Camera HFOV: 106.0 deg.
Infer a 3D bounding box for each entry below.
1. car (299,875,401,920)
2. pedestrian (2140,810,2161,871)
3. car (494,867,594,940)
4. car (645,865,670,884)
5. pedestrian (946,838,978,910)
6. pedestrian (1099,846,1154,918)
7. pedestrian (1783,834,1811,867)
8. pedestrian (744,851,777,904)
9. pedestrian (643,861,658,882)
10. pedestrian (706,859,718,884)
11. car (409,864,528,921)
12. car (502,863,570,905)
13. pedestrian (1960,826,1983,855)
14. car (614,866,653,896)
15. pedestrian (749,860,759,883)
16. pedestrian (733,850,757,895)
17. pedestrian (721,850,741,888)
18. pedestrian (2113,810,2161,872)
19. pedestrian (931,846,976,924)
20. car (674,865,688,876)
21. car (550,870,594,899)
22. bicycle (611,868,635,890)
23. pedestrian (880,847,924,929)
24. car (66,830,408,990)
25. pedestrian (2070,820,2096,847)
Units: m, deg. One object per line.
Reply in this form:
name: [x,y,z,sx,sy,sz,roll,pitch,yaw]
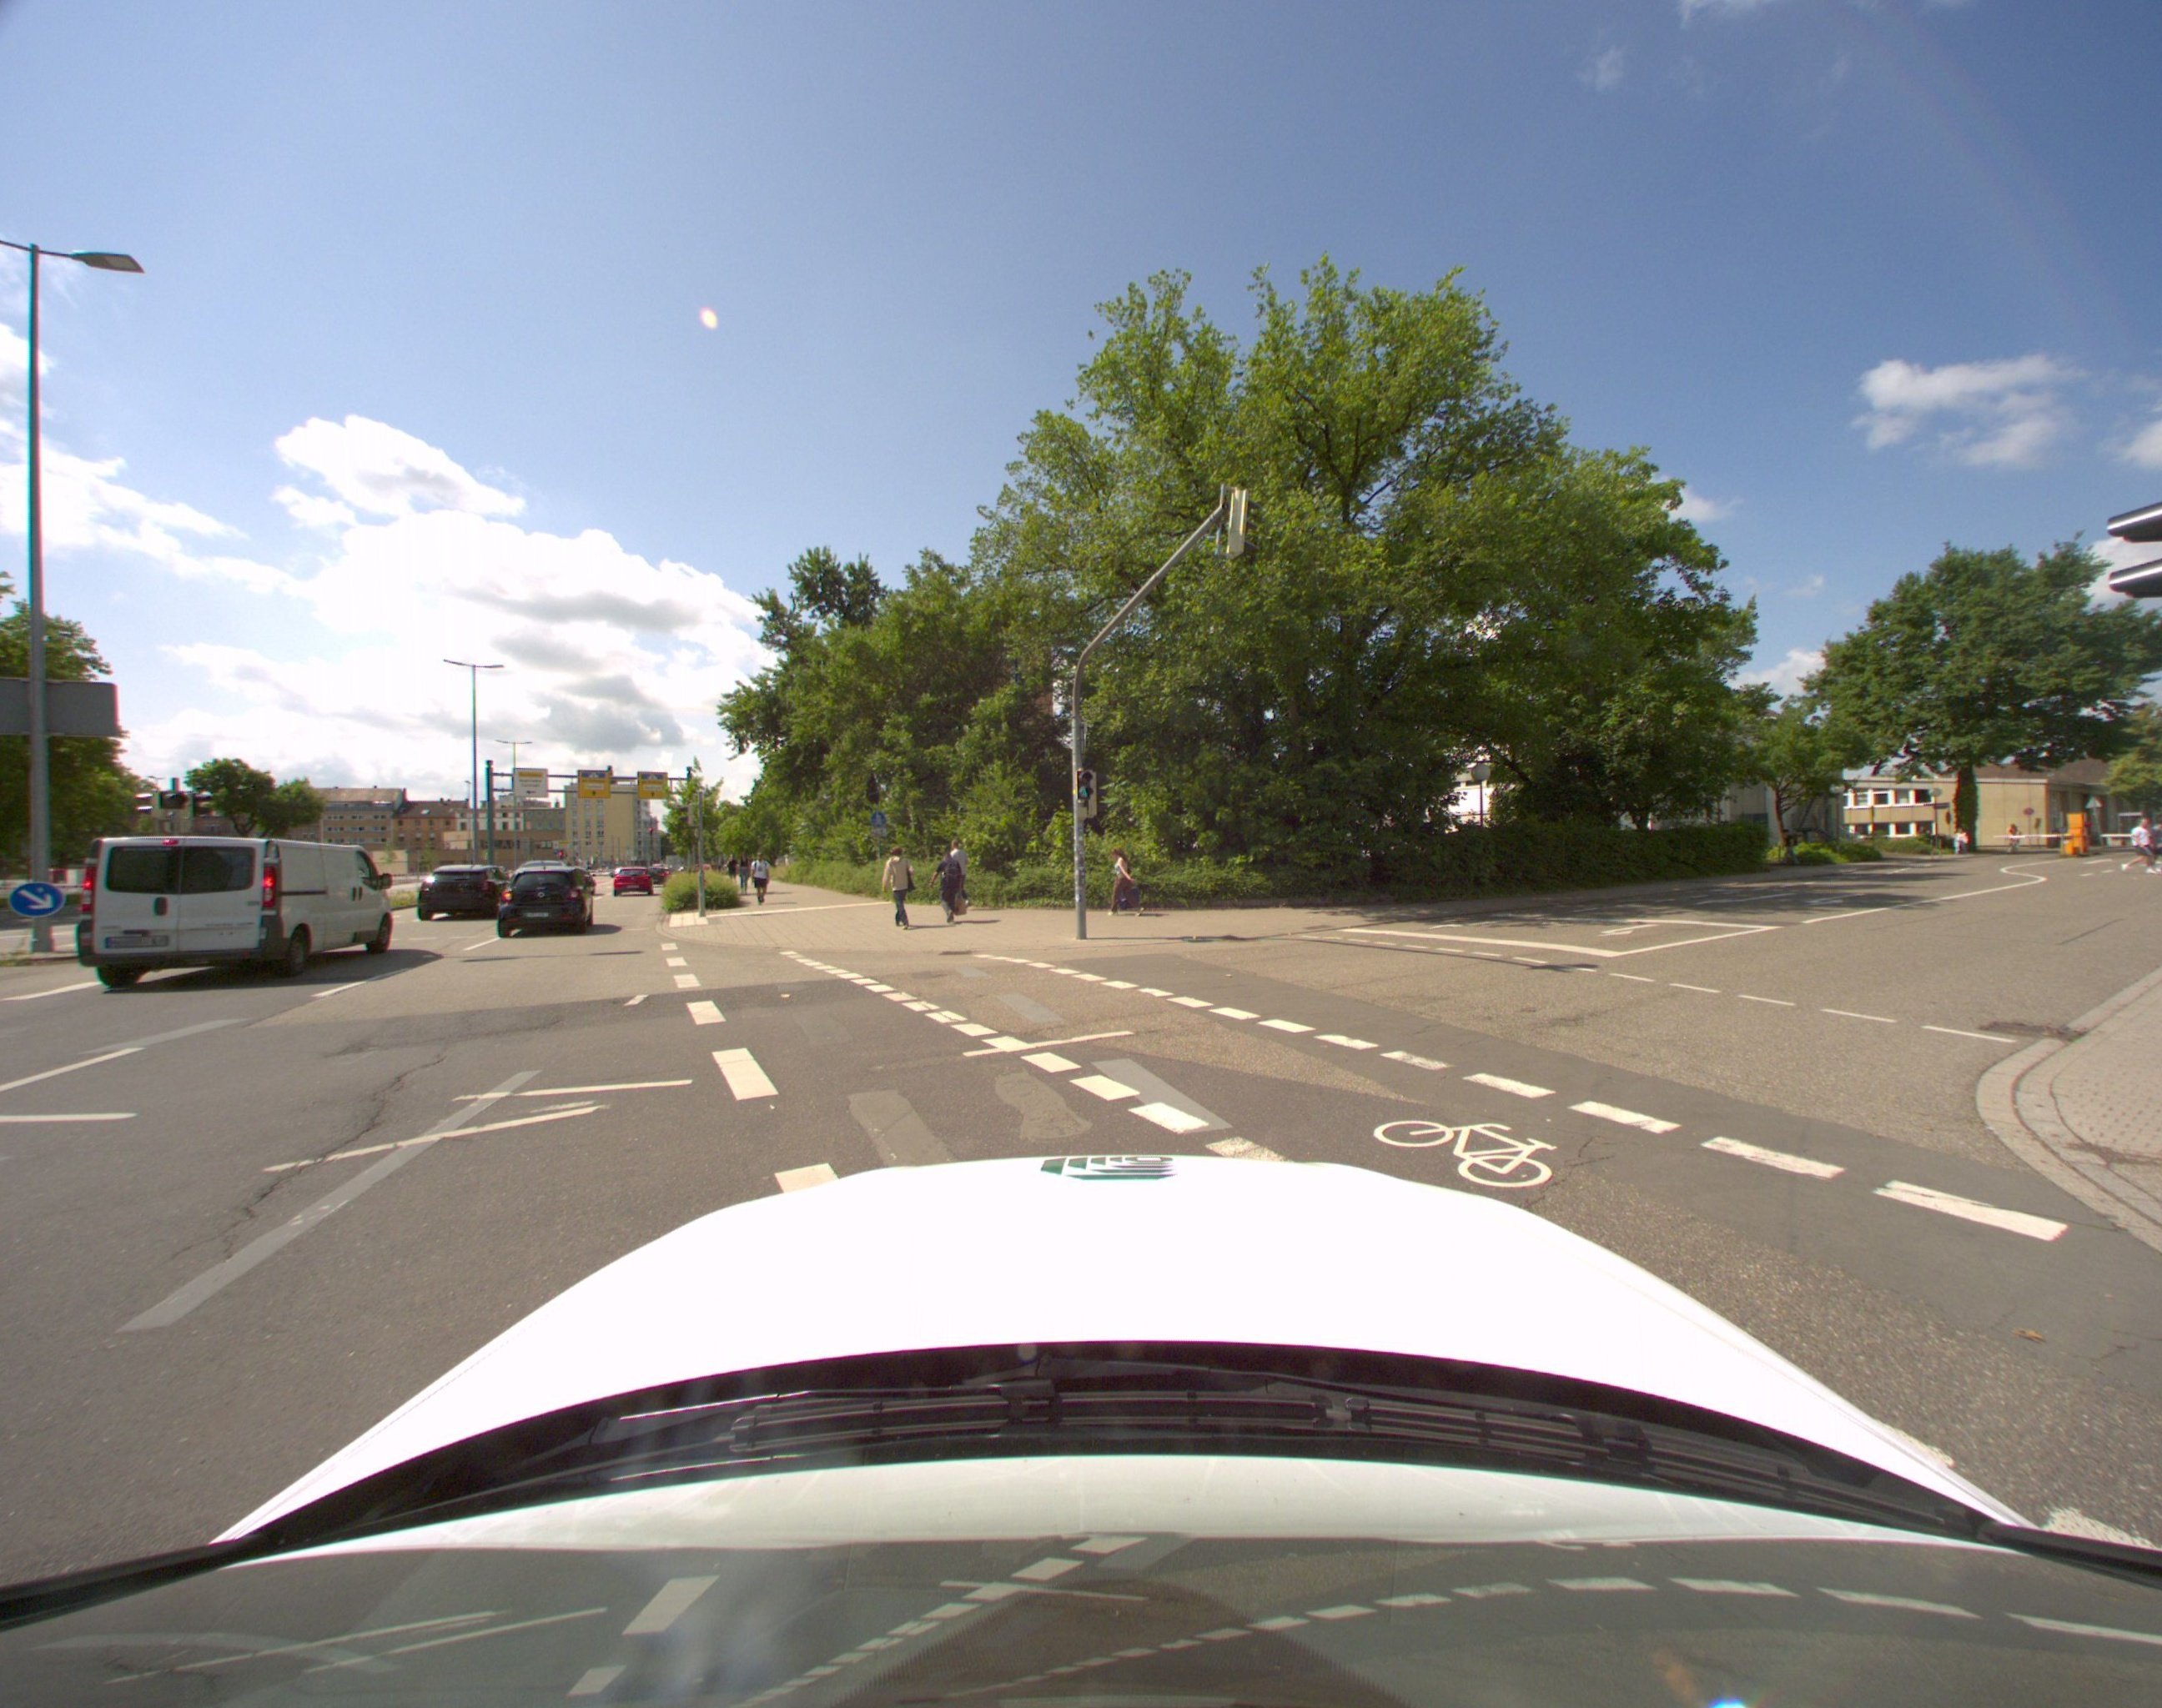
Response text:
car: [-26.547,1.547,29.732,1.757,1.472,3.773,0,-1,-25]
pedestrian: [34.429,-0.435,25.797,0.732,1.925,0.782,-1,0,-9]
car: [-12.474,1.065,19.095,1.620,1.485,3.485,0,0,-28]
car: [-32.041,1.514,61.660,1.620,1.411,3.485,1,-1,-28]
pedestrian: [-3.072,0.493,20.994,0.673,1.821,0.698,0,0,-22]
pedestrian: [1.095,0.649,19.511,1.007,1.626,0.863,0,2,31]
pedestrian: [34.167,-0.157,38.856,0.522,1.521,0.845,1,-2,-28]
pedestrian: [-10.665,0.781,27.097,0.856,1.700,0.923,-3,0,-28]
pedestrian: [-40.657,1.666,76.974,1.182,1.969,1.004,-1,0,-30]
pedestrian: [-30.309,1.439,66.901,0.843,1.969,0.852,-1,0,-30]
car: [-18.195,1.092,24.437,2.028,1.530,4.843,0,-1,-27]
car: [-22.093,1.161,33.136,1.837,1.601,4.353,0,-1,-28]
pedestrian: [50.998,-0.766,46.628,0.887,1.627,0.708,-1,0,-33]
car: [-22.181,1.303,40.430,1.620,1.411,3.485,0,-1,-28]
pedestrian: [-27.494,1.489,68.494,0.553,1.891,0.506,-1,-2,37]
pedestrian: [-14.468,0.791,35.060,0.843,1.868,1.009,-1,0,-30]
pedestrian: [-18.490,0.772,43.036,0.843,1.969,0.852,-1,0,-30]
pedestrian: [33.601,-0.399,25.883,0.591,1.925,0.783,-1,0,-9]
pedestrian: [-2.904,0.675,18.413,0.798,1.704,1.174,0,0,-20]
car: [-61.393,2.592,124.950,1.744,1.664,3.918,1,-1,-24]
car: [-25.791,1.516,41.328,1.620,1.325,3.485,-1,0,-28]
bicycle: [-44.344,2.418,78.853,2.006,2.014,3.961,1,-2,-30]
pedestrian: [-3.885,0.712,17.629,0.798,1.704,1.174,0,0,-20]
car: [-12.605,0.722,12.723,2.016,1.955,5.149,1,-1,-26]
pedestrian: [71.274,-1.459,57.931,0.809,1.816,1.048,-2,0,-32]
